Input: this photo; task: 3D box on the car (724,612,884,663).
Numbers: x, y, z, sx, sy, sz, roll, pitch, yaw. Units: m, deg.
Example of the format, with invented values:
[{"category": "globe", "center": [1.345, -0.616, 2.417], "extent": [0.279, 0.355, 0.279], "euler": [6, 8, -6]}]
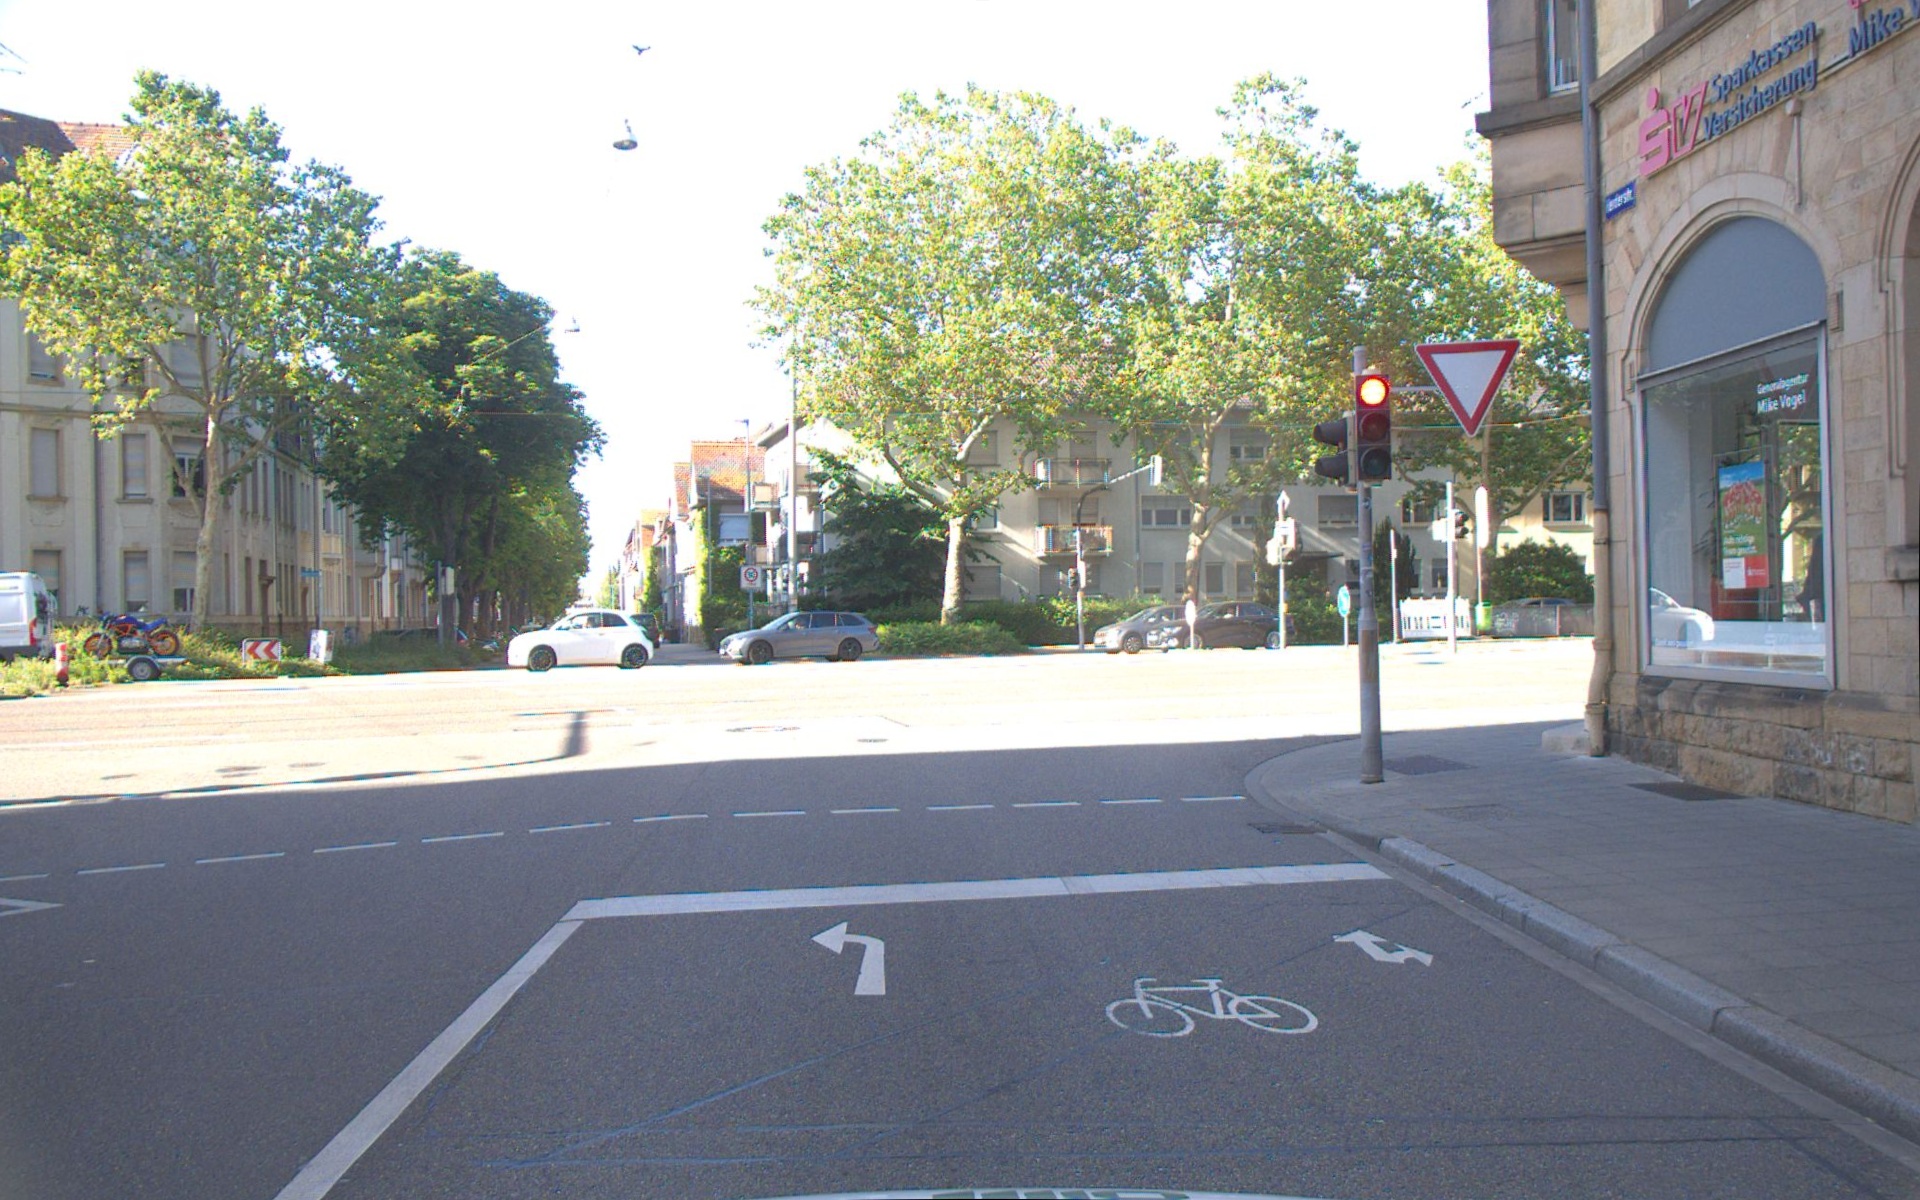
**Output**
[{"category": "car", "center": [-4.474, 1.047, 47.419], "extent": [4.323, 1.339, 1.636], "euler": [-1, 0, -21]}]

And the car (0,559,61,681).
[{"category": "car", "center": [-23.514, 0.476, 36.677], "extent": [6.017, 2.683, 1.885], "euler": [-1, 0, -20]}]

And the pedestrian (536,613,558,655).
[{"category": "pedestrian", "center": [-14.522, 1.198, 58.201], "extent": [0.692, 1.467, 0.487], "euler": [1, -1, -18]}]

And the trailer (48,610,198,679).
[{"category": "trailer", "center": [-19.301, 1.006, 38.248], "extent": [2.904, 1.483, 1.505], "euler": [-1, 0, -20]}]

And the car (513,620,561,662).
[{"category": "car", "center": [-17.115, 1.640, 67.002], "extent": [1.669, 1.509, 3.523], "euler": [-3, 1, -12]}]

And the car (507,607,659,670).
[{"category": "car", "center": [-9.552, 0.954, 41.872], "extent": [3.579, 1.483, 1.494], "euler": [-1, 0, -21]}]

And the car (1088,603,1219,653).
[{"category": "car", "center": [5.973, 0.851, 51.119], "extent": [3.728, 1.425, 1.635], "euler": [-1, 0, -22]}]

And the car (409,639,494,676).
[{"category": "car", "center": [-22.679, 2.554, 73.837], "extent": [3.572, 1.483, 1.650], "euler": [-1, 0, -16]}]

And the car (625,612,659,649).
[{"category": "car", "center": [-18.168, 1.725, 94.527], "extent": [1.742, 1.952, 3.523], "euler": [-3, 0, -12]}]

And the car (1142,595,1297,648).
[{"category": "car", "center": [7.528, 0.594, 47.917], "extent": [4.207, 1.425, 1.635], "euler": [-1, 0, -22]}]

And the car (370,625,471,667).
[{"category": "car", "center": [-20.448, 1.741, 62.809], "extent": [3.572, 1.483, 1.650], "euler": [-1, 0, -16]}]
